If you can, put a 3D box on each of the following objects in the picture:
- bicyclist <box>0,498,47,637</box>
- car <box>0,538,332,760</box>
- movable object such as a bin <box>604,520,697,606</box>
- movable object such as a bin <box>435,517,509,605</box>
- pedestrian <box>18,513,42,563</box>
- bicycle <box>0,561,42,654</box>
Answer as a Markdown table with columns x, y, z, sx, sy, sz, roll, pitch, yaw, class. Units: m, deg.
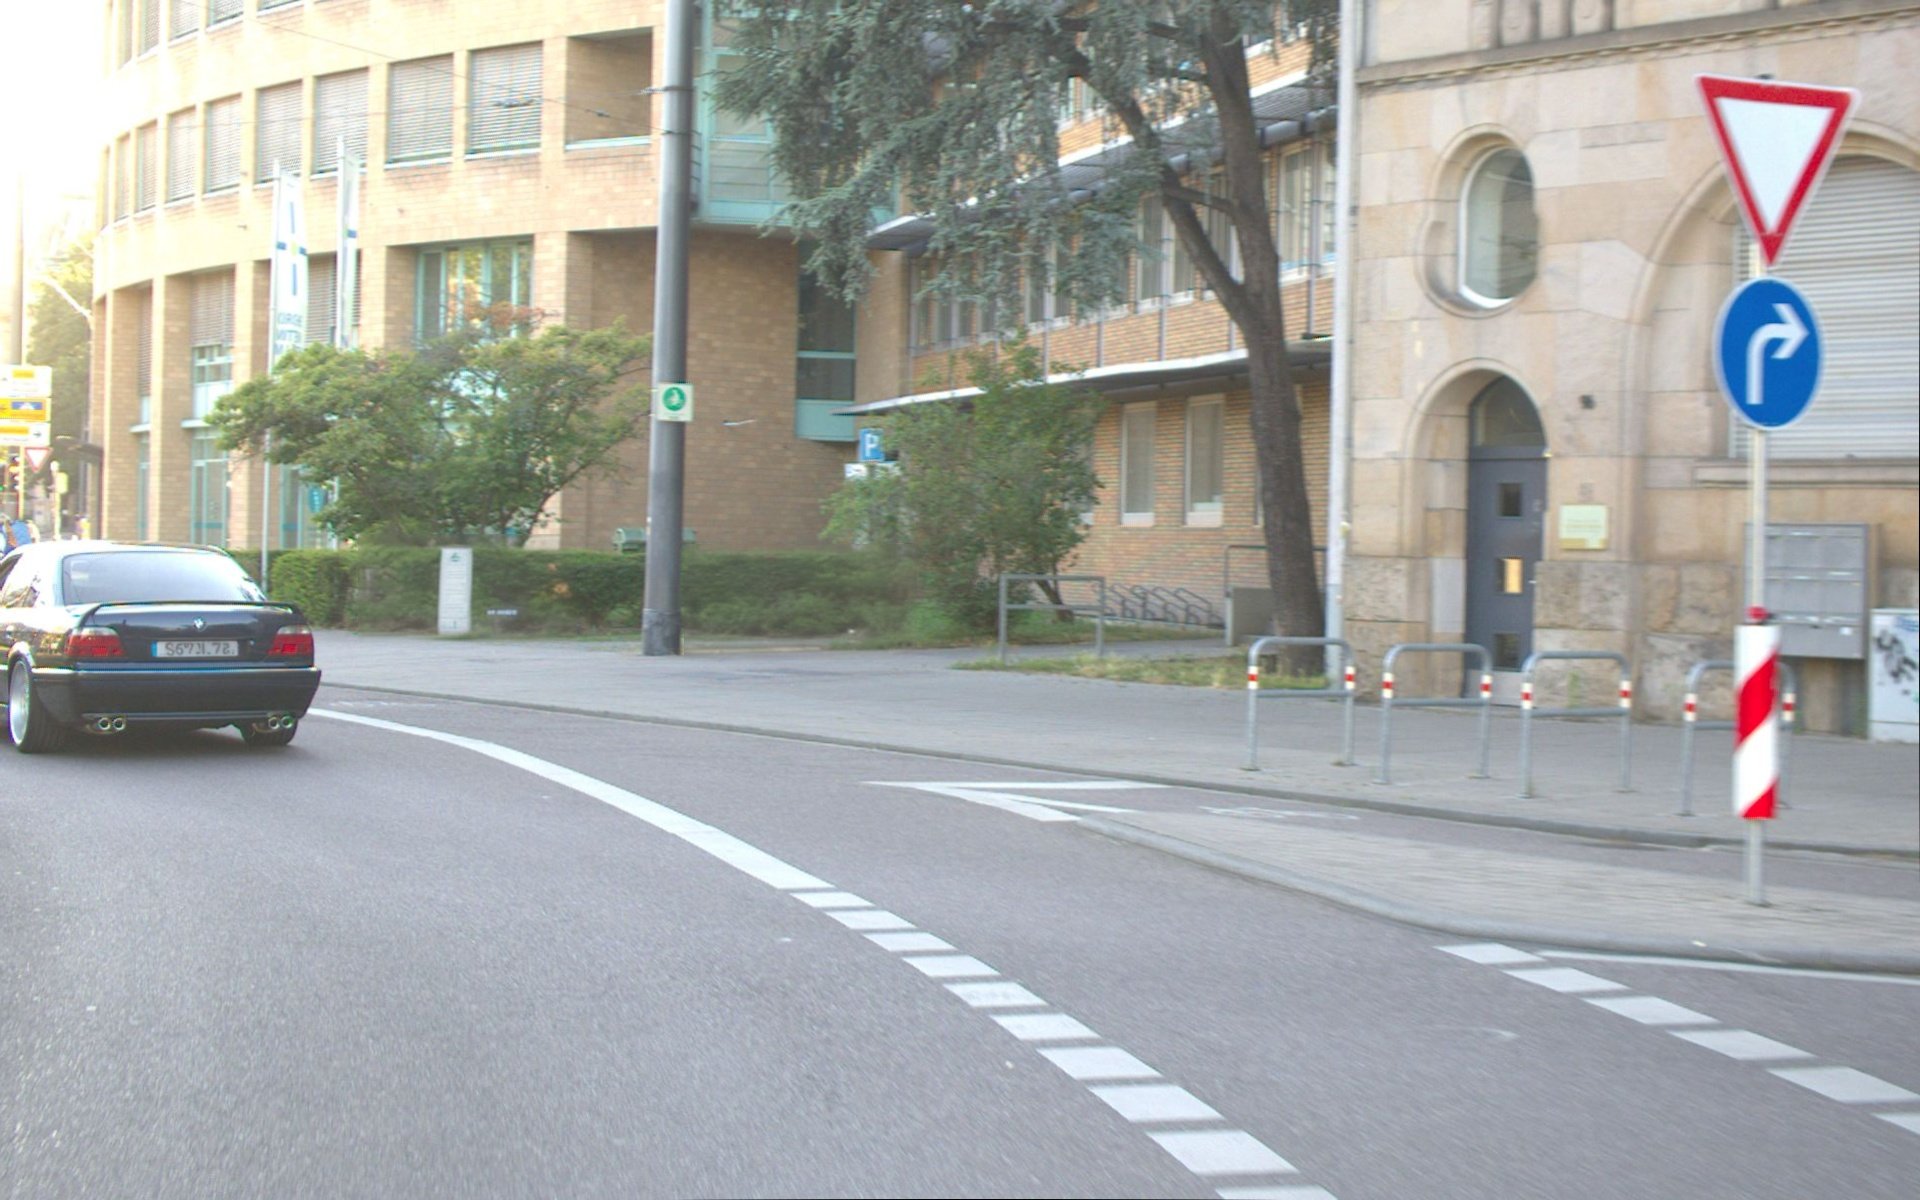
| x | y | z | sx | sy | sz | roll | pitch | yaw | class |
| --- | --- | --- | --- | --- | --- | --- | --- | --- | --- |
| -10.435 | -0.370 | 37.520 | 0.655 | 1.478 | 1.038 | 3 | 0 | -26 | bicyclist |
| -5.928 | 0.264 | 24.093 | 1.830 | 1.349 | 4.642 | -1 | 2 | -26 | car |
| -5.272 | -0.632 | 58.546 | 1.340 | 1.419 | 0.924 | 1 | 2 | -23 | movable object such as a bin |
| -8.248 | -0.664 | 58.169 | 0.971 | 1.432 | 1.345 | 2 | 2 | 4 | movable object such as a bin |
| -29.248 | -1.954 | 108.110 | 0.676 | 1.564 | 0.800 | 1 | 2 | -17 | pedestrian |
| -10.550 | 0.064 | 37.728 | 0.515 | 0.951 | 1.776 | 3 | 1 | -27 | bicycle |
